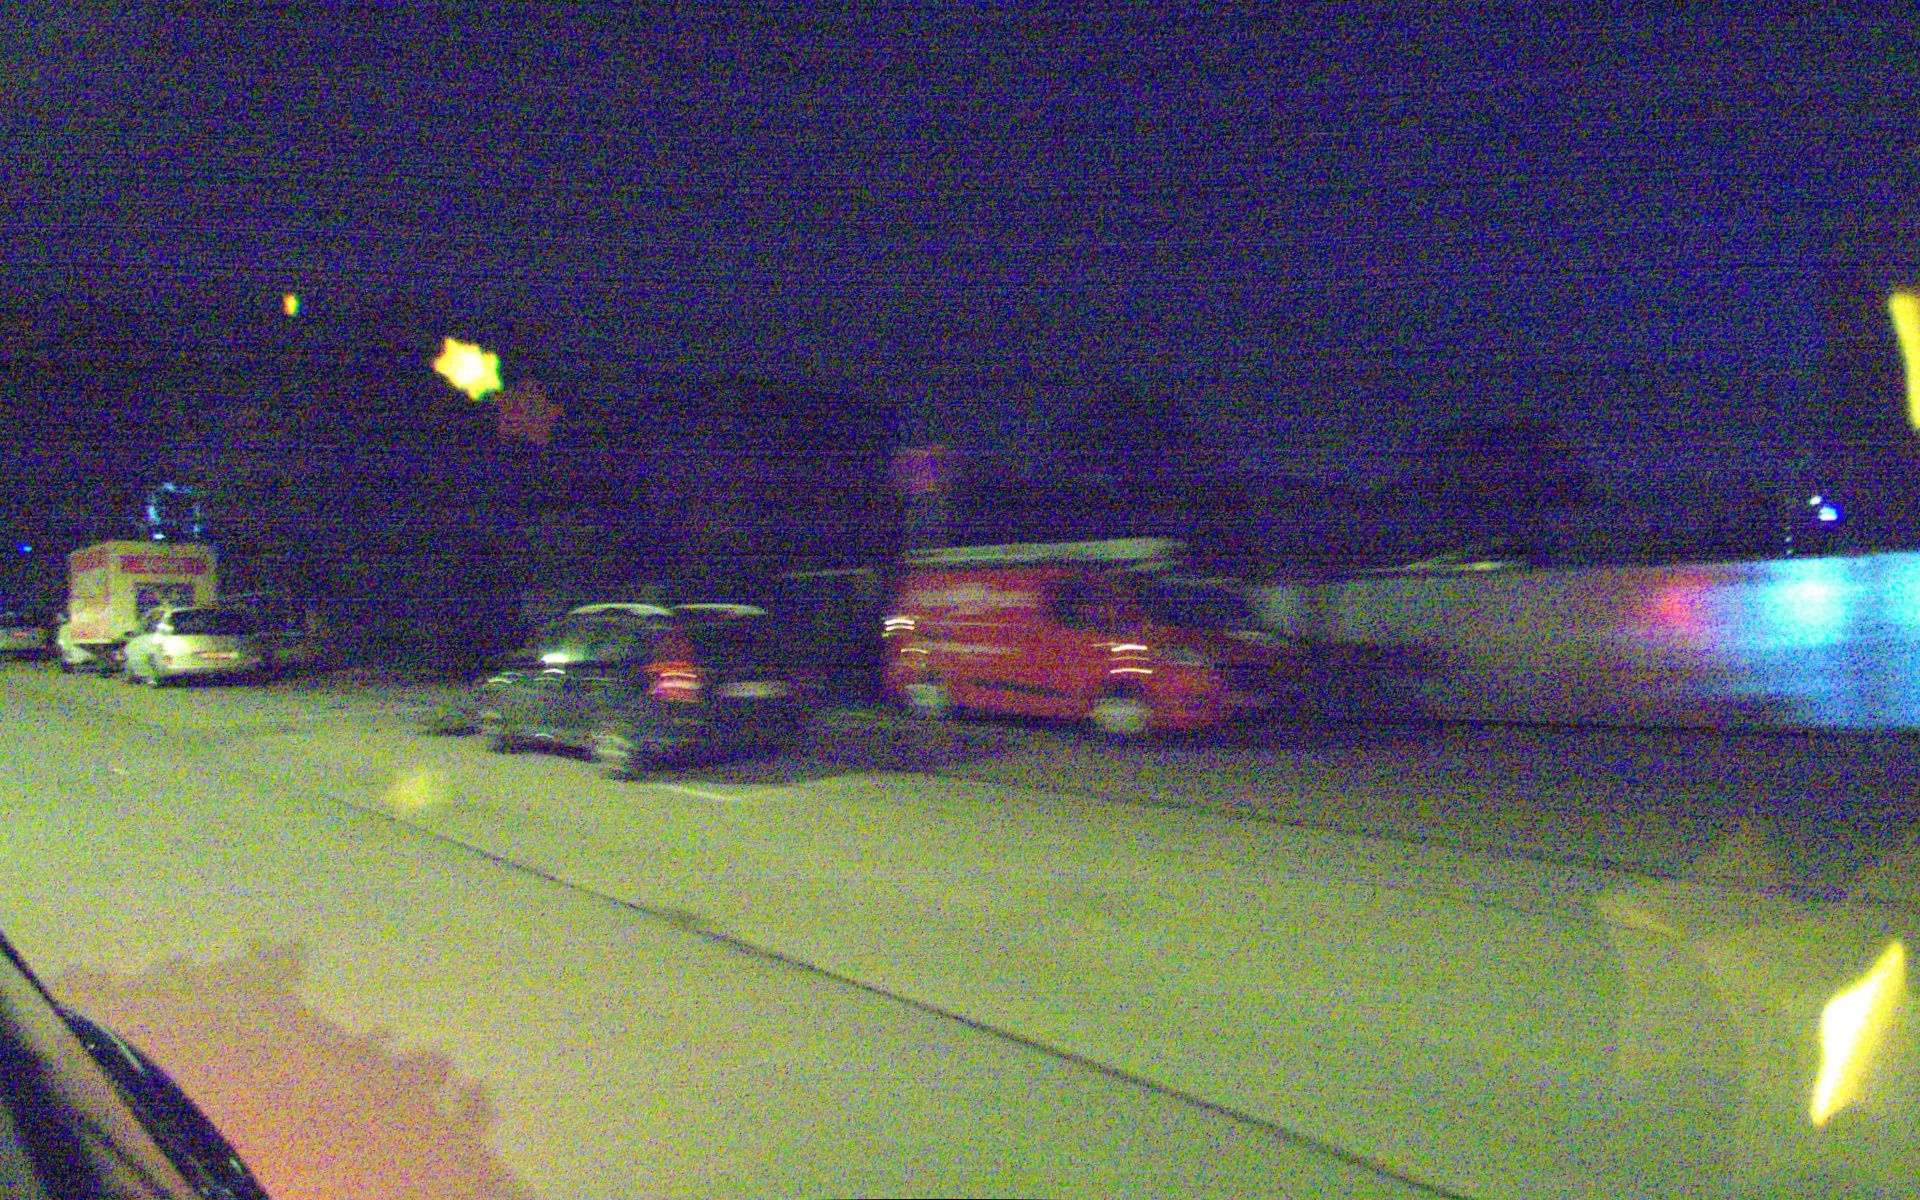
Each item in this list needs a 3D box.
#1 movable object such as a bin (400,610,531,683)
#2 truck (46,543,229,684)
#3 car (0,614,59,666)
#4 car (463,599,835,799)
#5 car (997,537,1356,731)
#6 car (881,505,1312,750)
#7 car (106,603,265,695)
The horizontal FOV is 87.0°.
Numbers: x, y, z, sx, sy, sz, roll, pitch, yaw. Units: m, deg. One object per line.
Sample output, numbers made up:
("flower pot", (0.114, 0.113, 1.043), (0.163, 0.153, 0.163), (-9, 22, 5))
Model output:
("movable object such as a bin", (-10.996, 0.994, 22.527), (2.308, 1.506, 1.417), (0, -1, -43))
("truck", (-22.143, 0.380, 27.084), (7.307, 3.305, 2.518), (-1, -1, 40))
("car", (-34.996, 1.431, 36.884), (4.676, 1.785, 1.979), (-1, -1, 32))
("car", (-3.253, 0.809, 10.013), (1.735, 1.538, 4.325), (0, -1, -44))
("car", (2.964, 0.462, 14.608), (2.182, 2.339, 4.627), (0, -2, -44))
("car", (1.406, 0.340, 12.138), (1.970, 2.339, 4.969), (2, -3, -44))
("car", (-17.122, 1.023, 22.275), (4.835, 1.830, 1.810), (-1, -1, 40))
